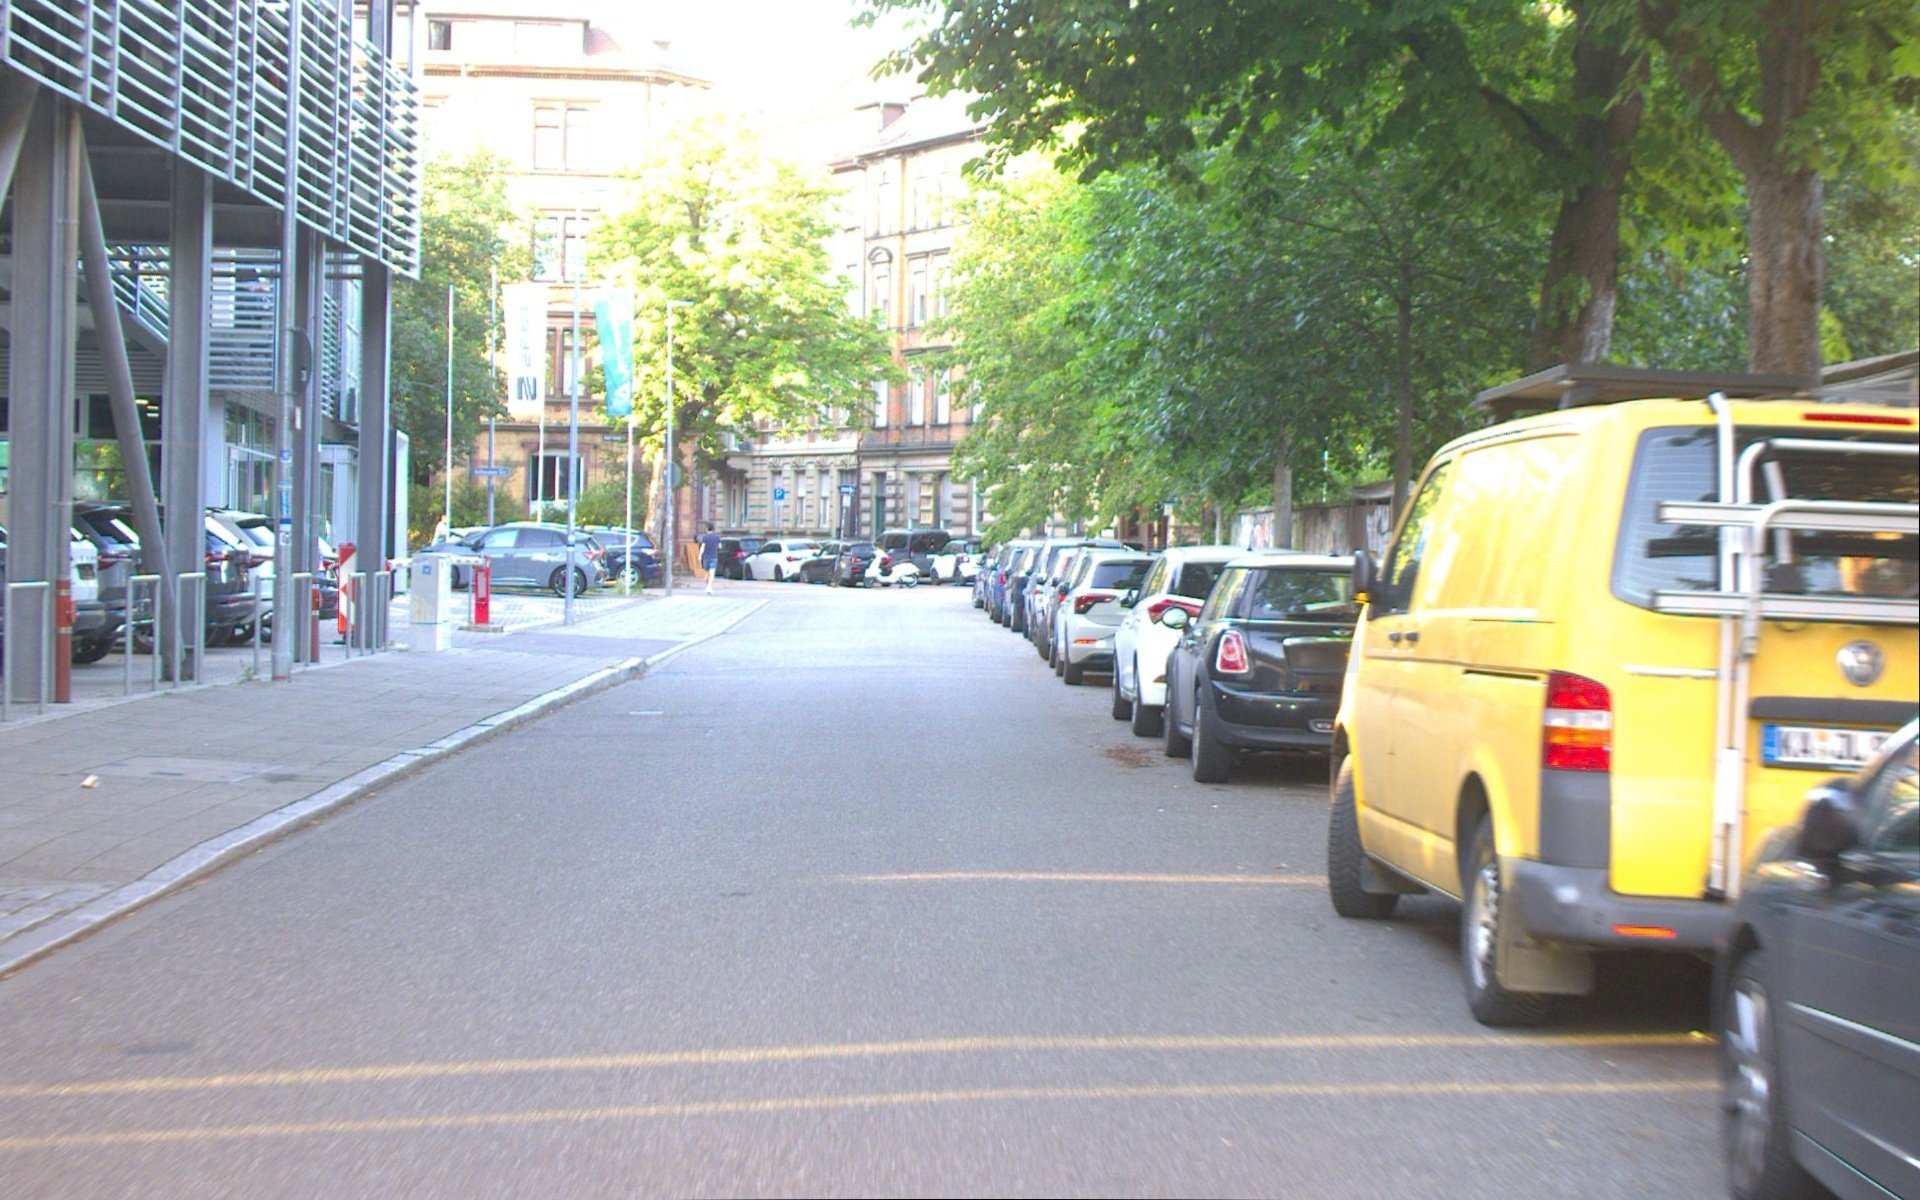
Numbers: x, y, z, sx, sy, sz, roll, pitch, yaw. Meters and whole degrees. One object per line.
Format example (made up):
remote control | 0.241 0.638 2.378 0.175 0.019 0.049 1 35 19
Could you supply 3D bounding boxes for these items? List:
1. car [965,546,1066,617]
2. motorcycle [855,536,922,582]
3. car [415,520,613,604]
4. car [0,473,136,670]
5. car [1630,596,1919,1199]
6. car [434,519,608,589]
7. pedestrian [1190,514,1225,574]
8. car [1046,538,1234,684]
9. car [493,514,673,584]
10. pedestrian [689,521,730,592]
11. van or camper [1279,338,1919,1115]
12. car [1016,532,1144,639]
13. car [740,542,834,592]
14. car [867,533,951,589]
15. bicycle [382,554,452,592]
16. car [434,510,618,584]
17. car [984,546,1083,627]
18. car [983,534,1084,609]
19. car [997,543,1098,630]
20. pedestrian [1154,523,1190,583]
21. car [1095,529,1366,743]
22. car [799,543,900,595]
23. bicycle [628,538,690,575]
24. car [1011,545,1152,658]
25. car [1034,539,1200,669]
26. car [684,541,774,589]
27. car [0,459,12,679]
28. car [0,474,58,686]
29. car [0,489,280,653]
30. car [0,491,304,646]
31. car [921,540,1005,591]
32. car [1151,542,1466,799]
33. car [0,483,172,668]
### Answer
car | 1.180 -0.421 74.744 1.694 1.471 4.213 1 1 -6
motorcycle | -2.146 -1.233 103.005 1.931 1.336 0.577 1 2 -11
car | -9.806 -0.849 75.874 4.129 1.612 1.913 3 2 -3
car | -9.585 -0.305 30.463 4.103 1.678 1.860 1 2 0
car | 2.474 0.758 6.546 1.606 1.377 4.000 1 2 0
car | -10.625 -1.127 83.367 4.044 1.470 1.921 3 2 -5
pedestrian | 7.469 -1.694 103.701 0.773 1.798 0.843 1 2 -16
car | 1.925 0.084 37.899 1.759 1.437 4.006 1 2 -1
car | -10.413 -1.415 94.847 4.828 1.726 1.921 2 2 -7
pedestrian | -6.432 -1.126 88.230 0.735 1.798 1.122 0 2 -21
van or camper | 2.488 0.271 11.864 2.064 2.088 5.091 1 2 -2
car | 1.843 -0.252 53.920 1.759 1.598 3.874 1 1 -1
car | -5.595 -1.083 110.748 1.654 1.426 4.168 1 2 -23
car | -1.729 -1.309 114.845 1.674 1.776 3.016 1 2 -25
bicycle | -14.979 -0.757 94.862 1.855 1.024 0.446 0 2 -25
car | -9.975 -1.235 79.218 4.066 1.612 1.765 1 2 -3
car | 1.383 -0.284 65.883 1.695 1.471 4.117 1 1 -1
car | 1.476 -0.597 70.337 1.695 1.471 3.560 1 1 -5
car | 1.529 -0.267 61.332 1.596 1.471 3.774 1 1 -1
pedestrian | 6.529 -1.450 105.860 0.840 1.798 0.776 0 2 -21
car | 2.088 0.227 27.510 1.722 1.514 4.026 1 2 -2
car | -3.442 -0.966 106.326 1.654 1.426 3.991 1 2 -25
bicycle | -8.537 -1.240 97.538 1.671 1.024 0.446 0 2 -25
car | 1.682 -0.007 48.791 1.759 1.436 3.874 1 2 -1
car | 1.905 0.008 42.855 1.759 1.449 4.393 1 2 -1
car | -7.747 -1.186 115.129 1.654 1.426 3.897 1 2 -25
car | -9.369 -0.252 25.590 4.103 1.678 1.860 1 2 0
car | -9.645 -0.219 27.969 4.103 1.678 1.860 1 2 0
car | -9.615 -0.347 37.318 4.087 1.678 1.860 1 2 0
car | -9.816 -0.388 39.746 4.079 1.678 1.860 1 2 0
car | 0.089 -1.129 111.408 1.674 1.520 2.768 1 2 -25
car | 2.164 0.390 22.124 1.563 1.445 3.454 1 2 -2
car | -9.728 -0.279 32.609 4.064 1.678 1.860 1 2 0
